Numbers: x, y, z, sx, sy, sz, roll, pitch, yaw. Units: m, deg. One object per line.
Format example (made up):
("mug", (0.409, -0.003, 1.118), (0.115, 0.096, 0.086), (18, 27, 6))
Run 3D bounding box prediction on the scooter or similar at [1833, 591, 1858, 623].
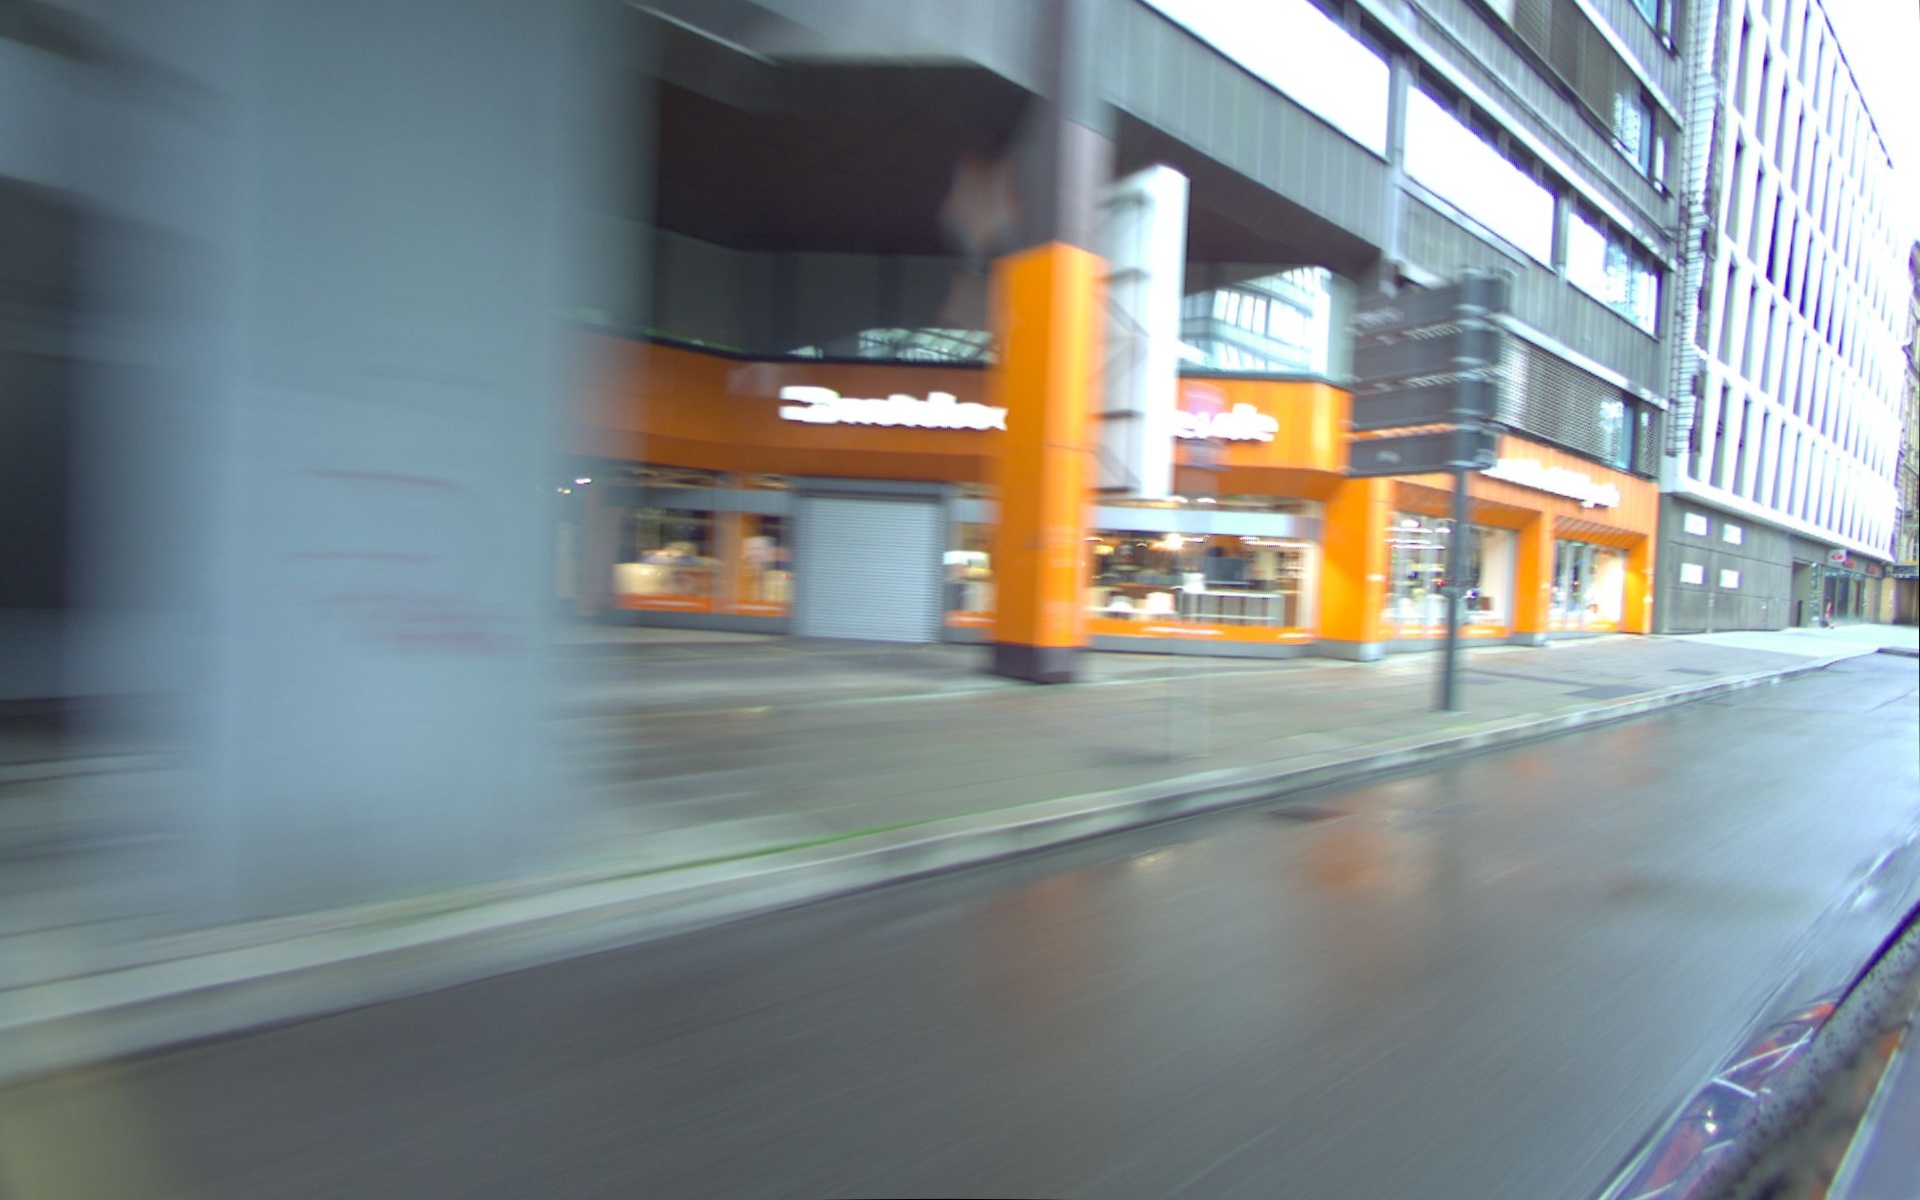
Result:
("scooter or similar", (35.811, 0.283, 40.939), (1.166, 1.251, 0.413), (1, 1, -32))
